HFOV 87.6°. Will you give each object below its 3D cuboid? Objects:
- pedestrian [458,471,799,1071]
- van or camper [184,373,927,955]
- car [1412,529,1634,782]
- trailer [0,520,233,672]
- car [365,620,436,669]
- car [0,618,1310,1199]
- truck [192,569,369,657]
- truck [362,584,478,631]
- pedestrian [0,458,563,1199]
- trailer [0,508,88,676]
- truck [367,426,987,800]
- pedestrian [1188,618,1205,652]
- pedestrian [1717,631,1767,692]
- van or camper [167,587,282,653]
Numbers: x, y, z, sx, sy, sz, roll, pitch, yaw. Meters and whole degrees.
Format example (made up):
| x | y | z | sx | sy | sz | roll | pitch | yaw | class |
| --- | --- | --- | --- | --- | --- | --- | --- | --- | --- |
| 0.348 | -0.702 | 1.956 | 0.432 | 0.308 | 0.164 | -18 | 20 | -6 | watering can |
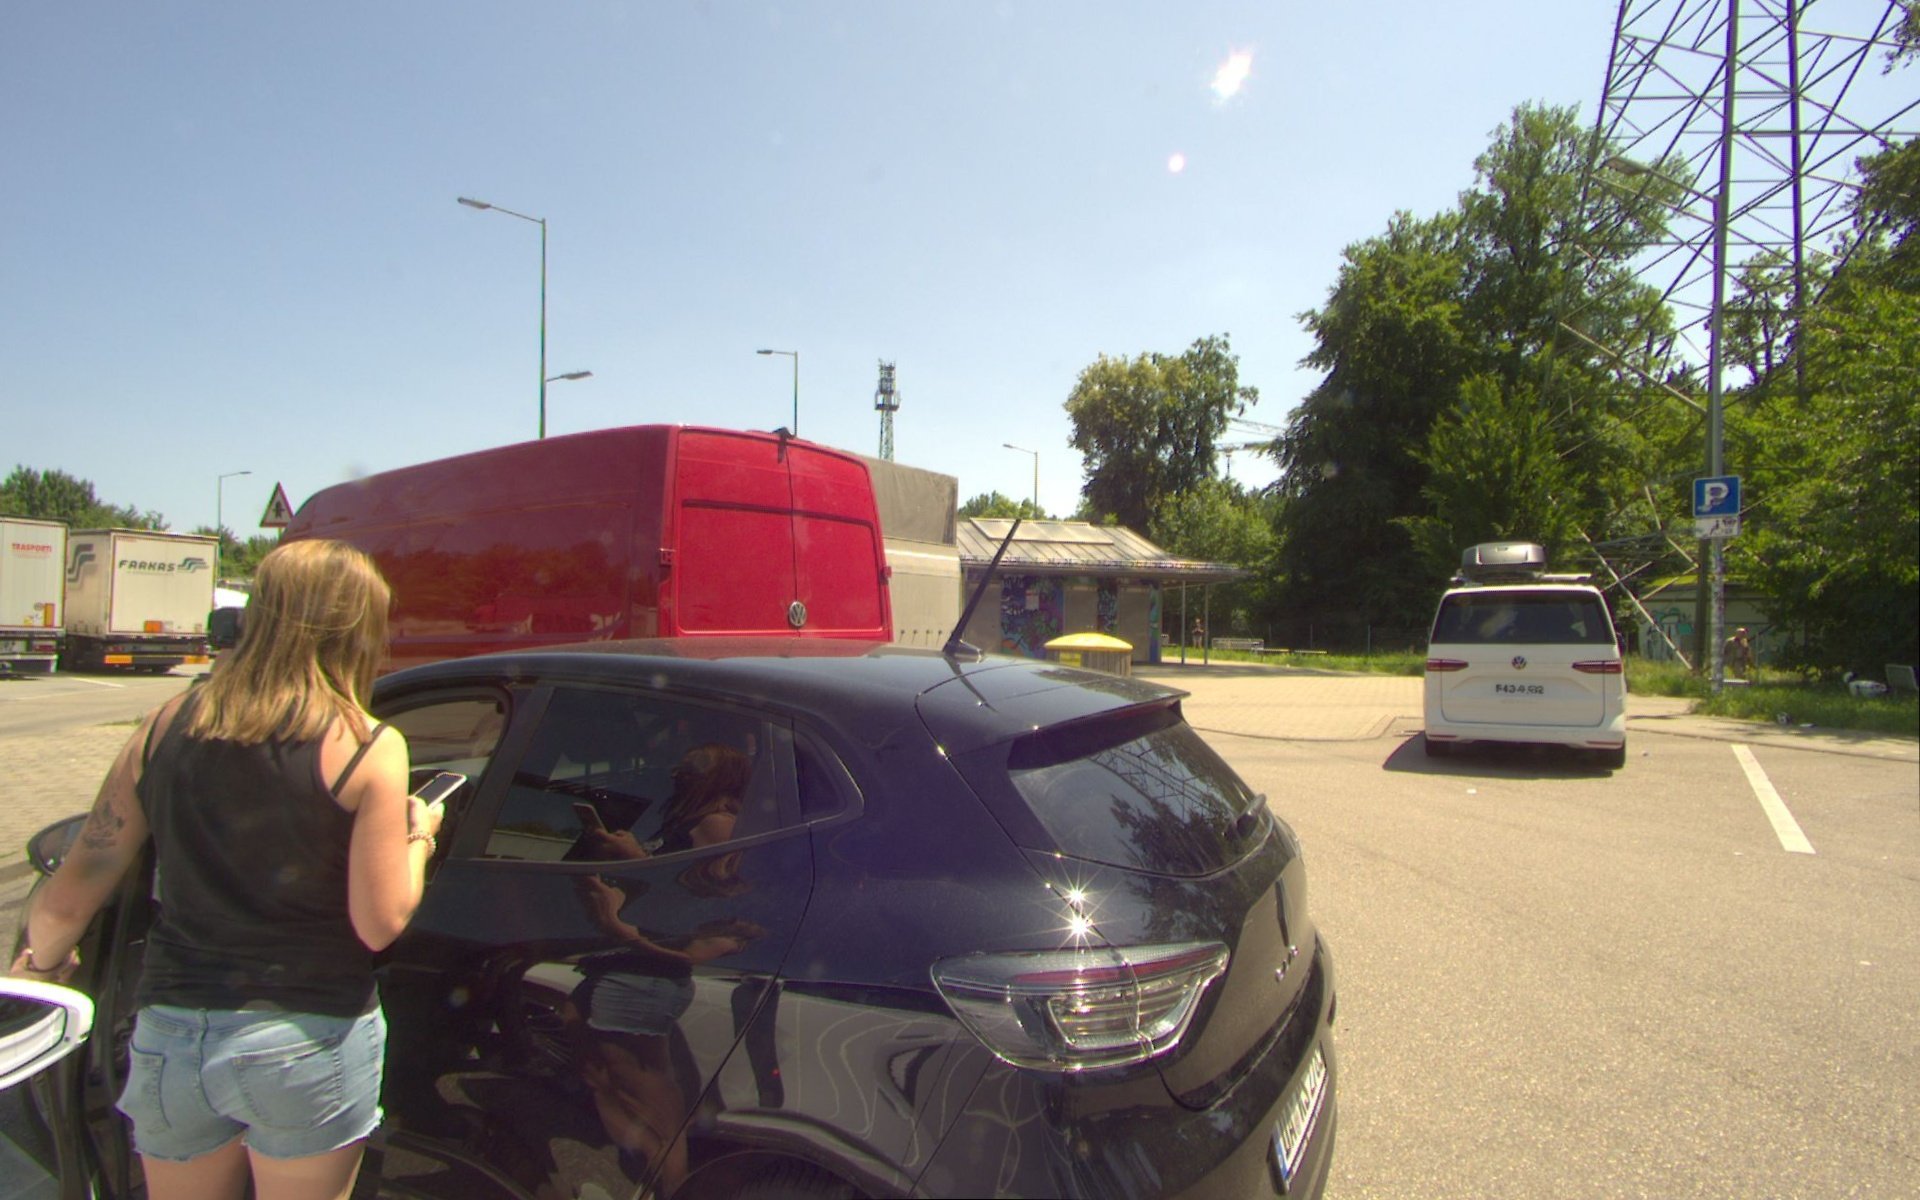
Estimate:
| x | y | z | sx | sy | sz | roll | pitch | yaw | class |
| --- | --- | --- | --- | --- | --- | --- | --- | --- | --- |
| -1.208 | 0.549 | 3.721 | 0.902 | 1.896 | 0.771 | 1 | 0 | 27 | pedestrian |
| -3.373 | 0.322 | 7.345 | 6.394 | 2.688 | 1.990 | 0 | -1 | 36 | van or camper |
| 6.532 | 0.566 | 11.552 | 1.892 | 2.354 | 4.074 | -1 | -1 | 32 | car |
| -27.304 | -0.207 | 31.453 | 12.255 | 4.090 | 2.862 | 2 | -1 | 33 | trailer |
| -19.685 | 1.527 | 35.362 | 1.818 | 1.582 | 3.935 | 1 | -1 | -24 | car |
| -1.067 | 0.834 | 2.837 | 3.706 | 1.503 | 1.615 | 0 | -1 | 27 | car |
| -31.704 | 0.497 | 46.465 | 11.255 | 3.615 | 2.484 | 2 | -1 | 33 | truck |
| -34.735 | 0.454 | 64.267 | 9.637 | 2.857 | 2.121 | 0 | -1 | 33 | truck |
| -1.126 | 0.635 | 1.597 | 0.642 | 1.606 | 0.648 | 1 | 0 | 13 | pedestrian |
| -28.364 | -0.336 | 27.788 | 12.255 | 4.090 | 2.862 | 2 | -1 | 33 | trailer |
| -3.269 | 0.131 | 10.551 | 6.874 | 2.828 | 2.460 | 0 | -1 | 35 | truck |
| 10.849 | 1.615 | 45.955 | 0.584 | 1.536 | 0.586 | 1 | 0 | 31 | pedestrian |
| 18.429 | 1.440 | 23.614 | 0.695 | 1.392 | 0.608 | 1 | 0 | 2 | pedestrian |
| -30.422 | 0.812 | 41.375 | 5.296 | 2.595 | 2.100 | 0 | -1 | 34 | van or camper |
